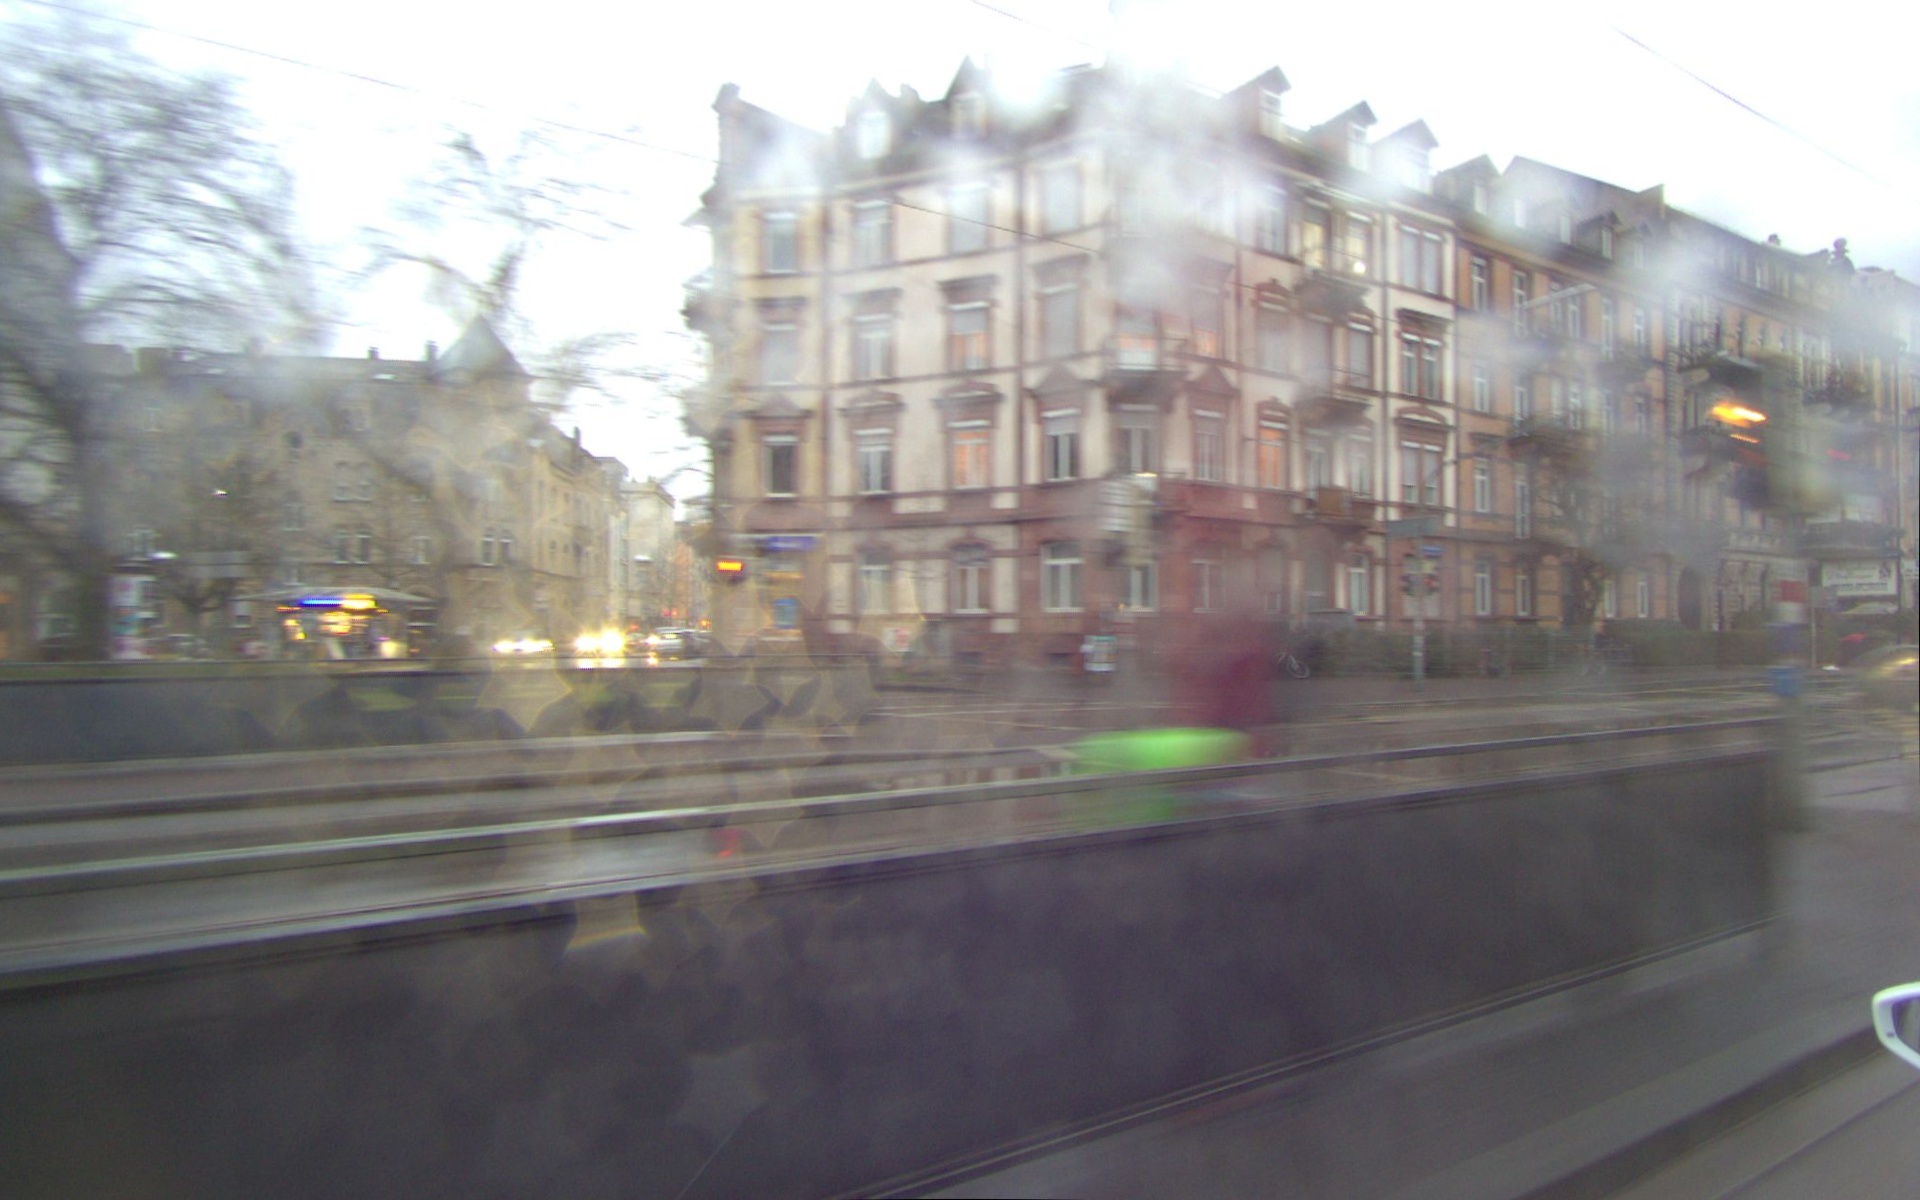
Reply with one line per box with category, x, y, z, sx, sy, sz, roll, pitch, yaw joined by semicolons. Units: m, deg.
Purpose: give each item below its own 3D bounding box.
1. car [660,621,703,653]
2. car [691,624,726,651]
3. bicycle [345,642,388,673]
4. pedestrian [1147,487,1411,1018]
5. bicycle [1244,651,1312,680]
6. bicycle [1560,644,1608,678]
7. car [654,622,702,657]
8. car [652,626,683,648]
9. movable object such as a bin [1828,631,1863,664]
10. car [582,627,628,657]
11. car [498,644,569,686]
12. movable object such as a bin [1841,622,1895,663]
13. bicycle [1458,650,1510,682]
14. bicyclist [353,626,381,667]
car;-15.791;2.093;57.082;1.964;1.728;3.993;0;-2;-11
car;-16.579;2.504;66.313;1.964;1.728;3.993;0;-2;-11
bicycle;-20.163;1.938;34.167;0.483;1.020;1.810;0;-2;-4
pedestrian;1.272;0.561;4.100;0.706;1.943;0.686;1;1;-18
bicycle;8.823;1.821;27.907;1.774;0.769;0.401;0;-1;6
bicycle;19.298;1.864;31.055;1.826;1.020;0.414;1;-2;-29
car;-14.442;2.019;51.607;1.964;1.728;3.994;0;-2;-10
car;-23.860;3.007;82.053;1.964;1.728;3.993;0;-2;-11
movable object such as a bin;35.933;1.917;40.774;0.738;1.309;0.890;1;-1;-32
car;-21.125;2.474;59.849;1.964;1.728;3.993;0;-2;-11
car;-19.804;2.992;46.831;1.843;1.795;3.862;0;-2;-3
movable object such as a bin;36.850;1.718;40.776;1.290;1.607;1.240;1;-1;-25
bicycle;15.063;1.884;28.852;1.826;0.873;0.398;1;-1;-29
bicyclist;-20.180;1.575;34.182;0.520;1.382;0.765;1;0;-4
